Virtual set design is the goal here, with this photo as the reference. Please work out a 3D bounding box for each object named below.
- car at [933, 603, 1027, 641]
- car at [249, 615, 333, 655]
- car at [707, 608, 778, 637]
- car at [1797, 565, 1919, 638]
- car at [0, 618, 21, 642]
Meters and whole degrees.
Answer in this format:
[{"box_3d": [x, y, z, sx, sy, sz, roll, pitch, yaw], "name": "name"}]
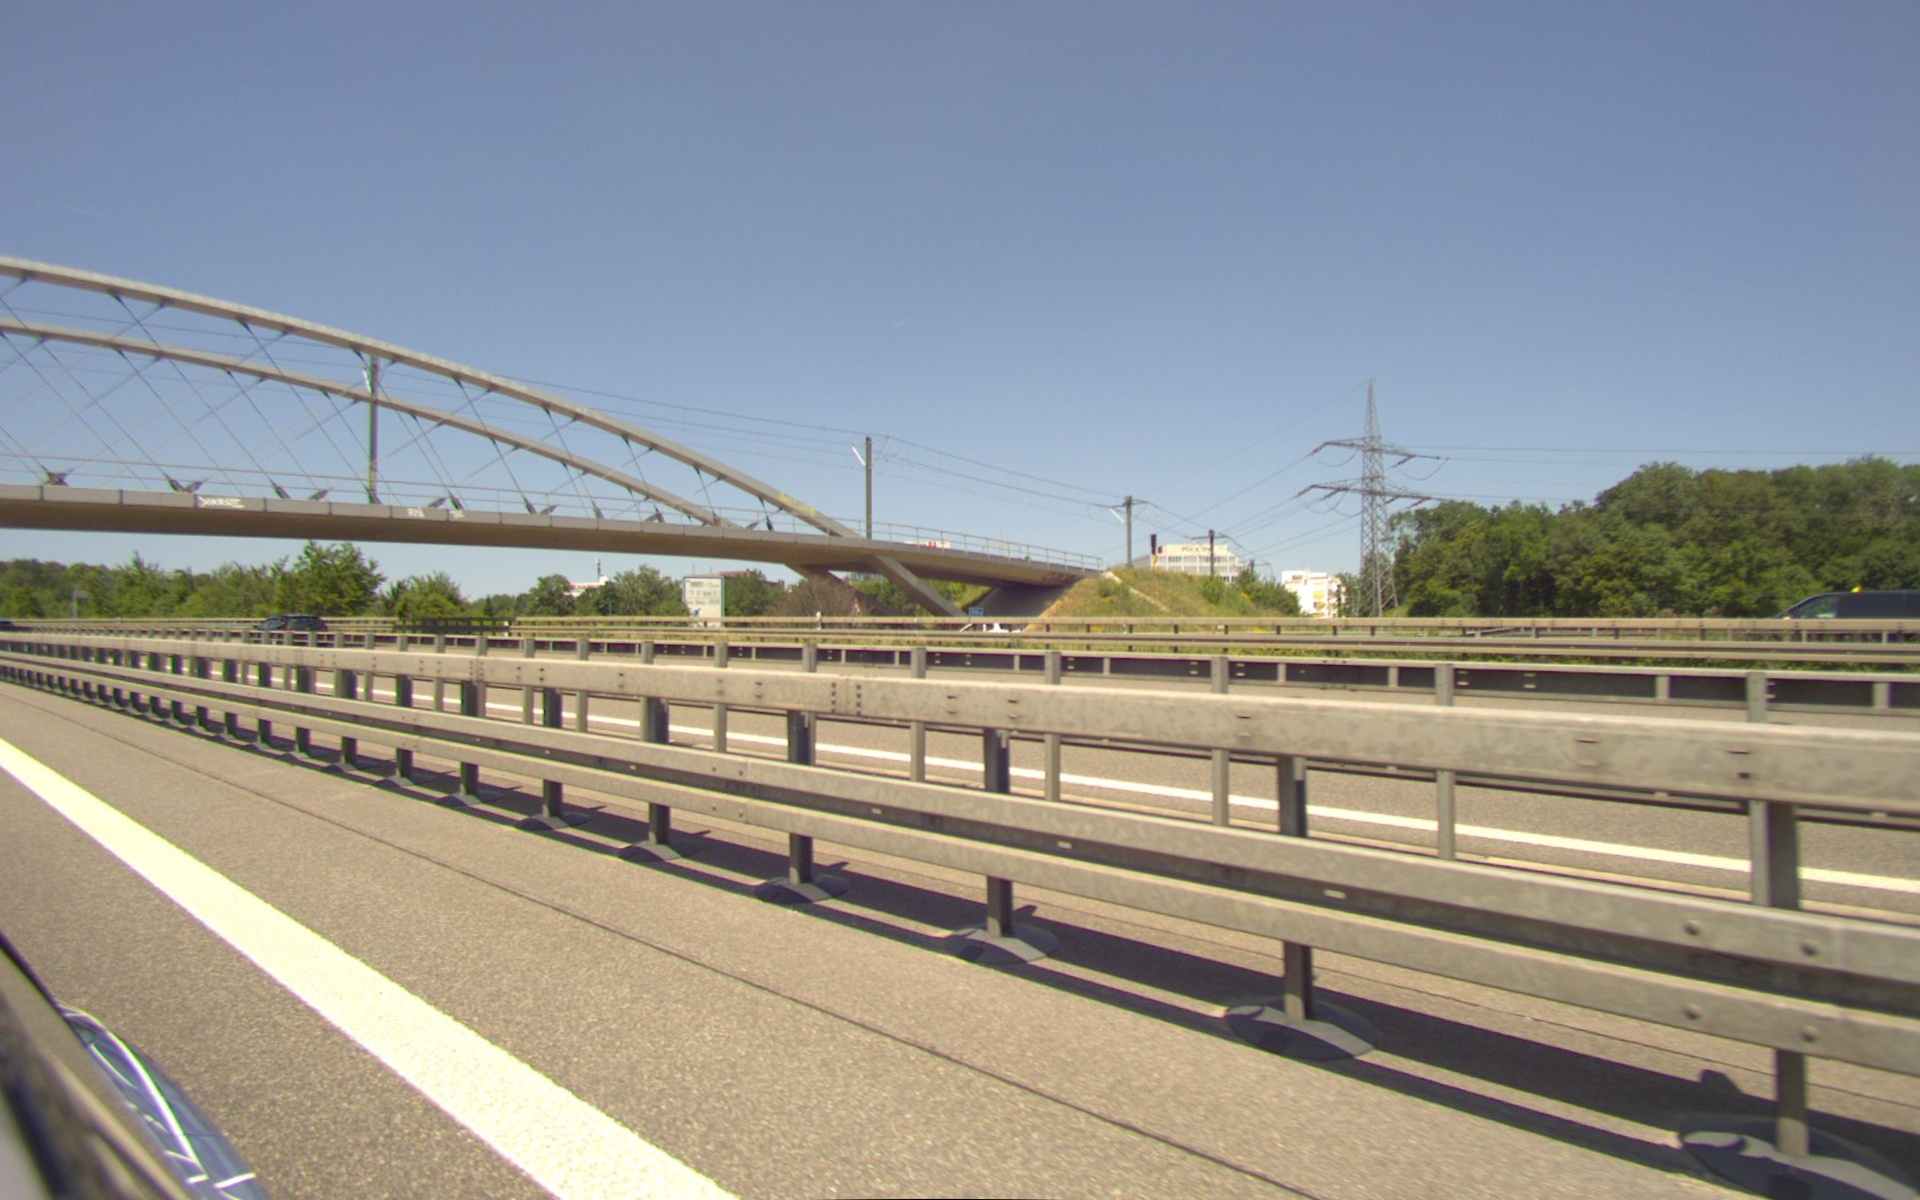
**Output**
[{"box_3d": [0.896, 1.004, 46.516, 3.998, 1.630, 1.973, -1, -1, 41], "name": "car"}, {"box_3d": [-26.765, 1.353, 40.423, 4.442, 1.475, 1.641, -1, 1, 41], "name": "car"}, {"box_3d": [-12.932, 1.349, 60.069, 4.320, 1.630, 1.973, -1, -1, 41], "name": "car"}, {"box_3d": [23.652, 0.032, 25.371, 4.001, 1.757, 1.848, -1, 0, 44], "name": "car"}, {"box_3d": [-58.890, 1.843, 61.978, 4.098, 1.422, 1.613, -1, -1, 41], "name": "car"}]
